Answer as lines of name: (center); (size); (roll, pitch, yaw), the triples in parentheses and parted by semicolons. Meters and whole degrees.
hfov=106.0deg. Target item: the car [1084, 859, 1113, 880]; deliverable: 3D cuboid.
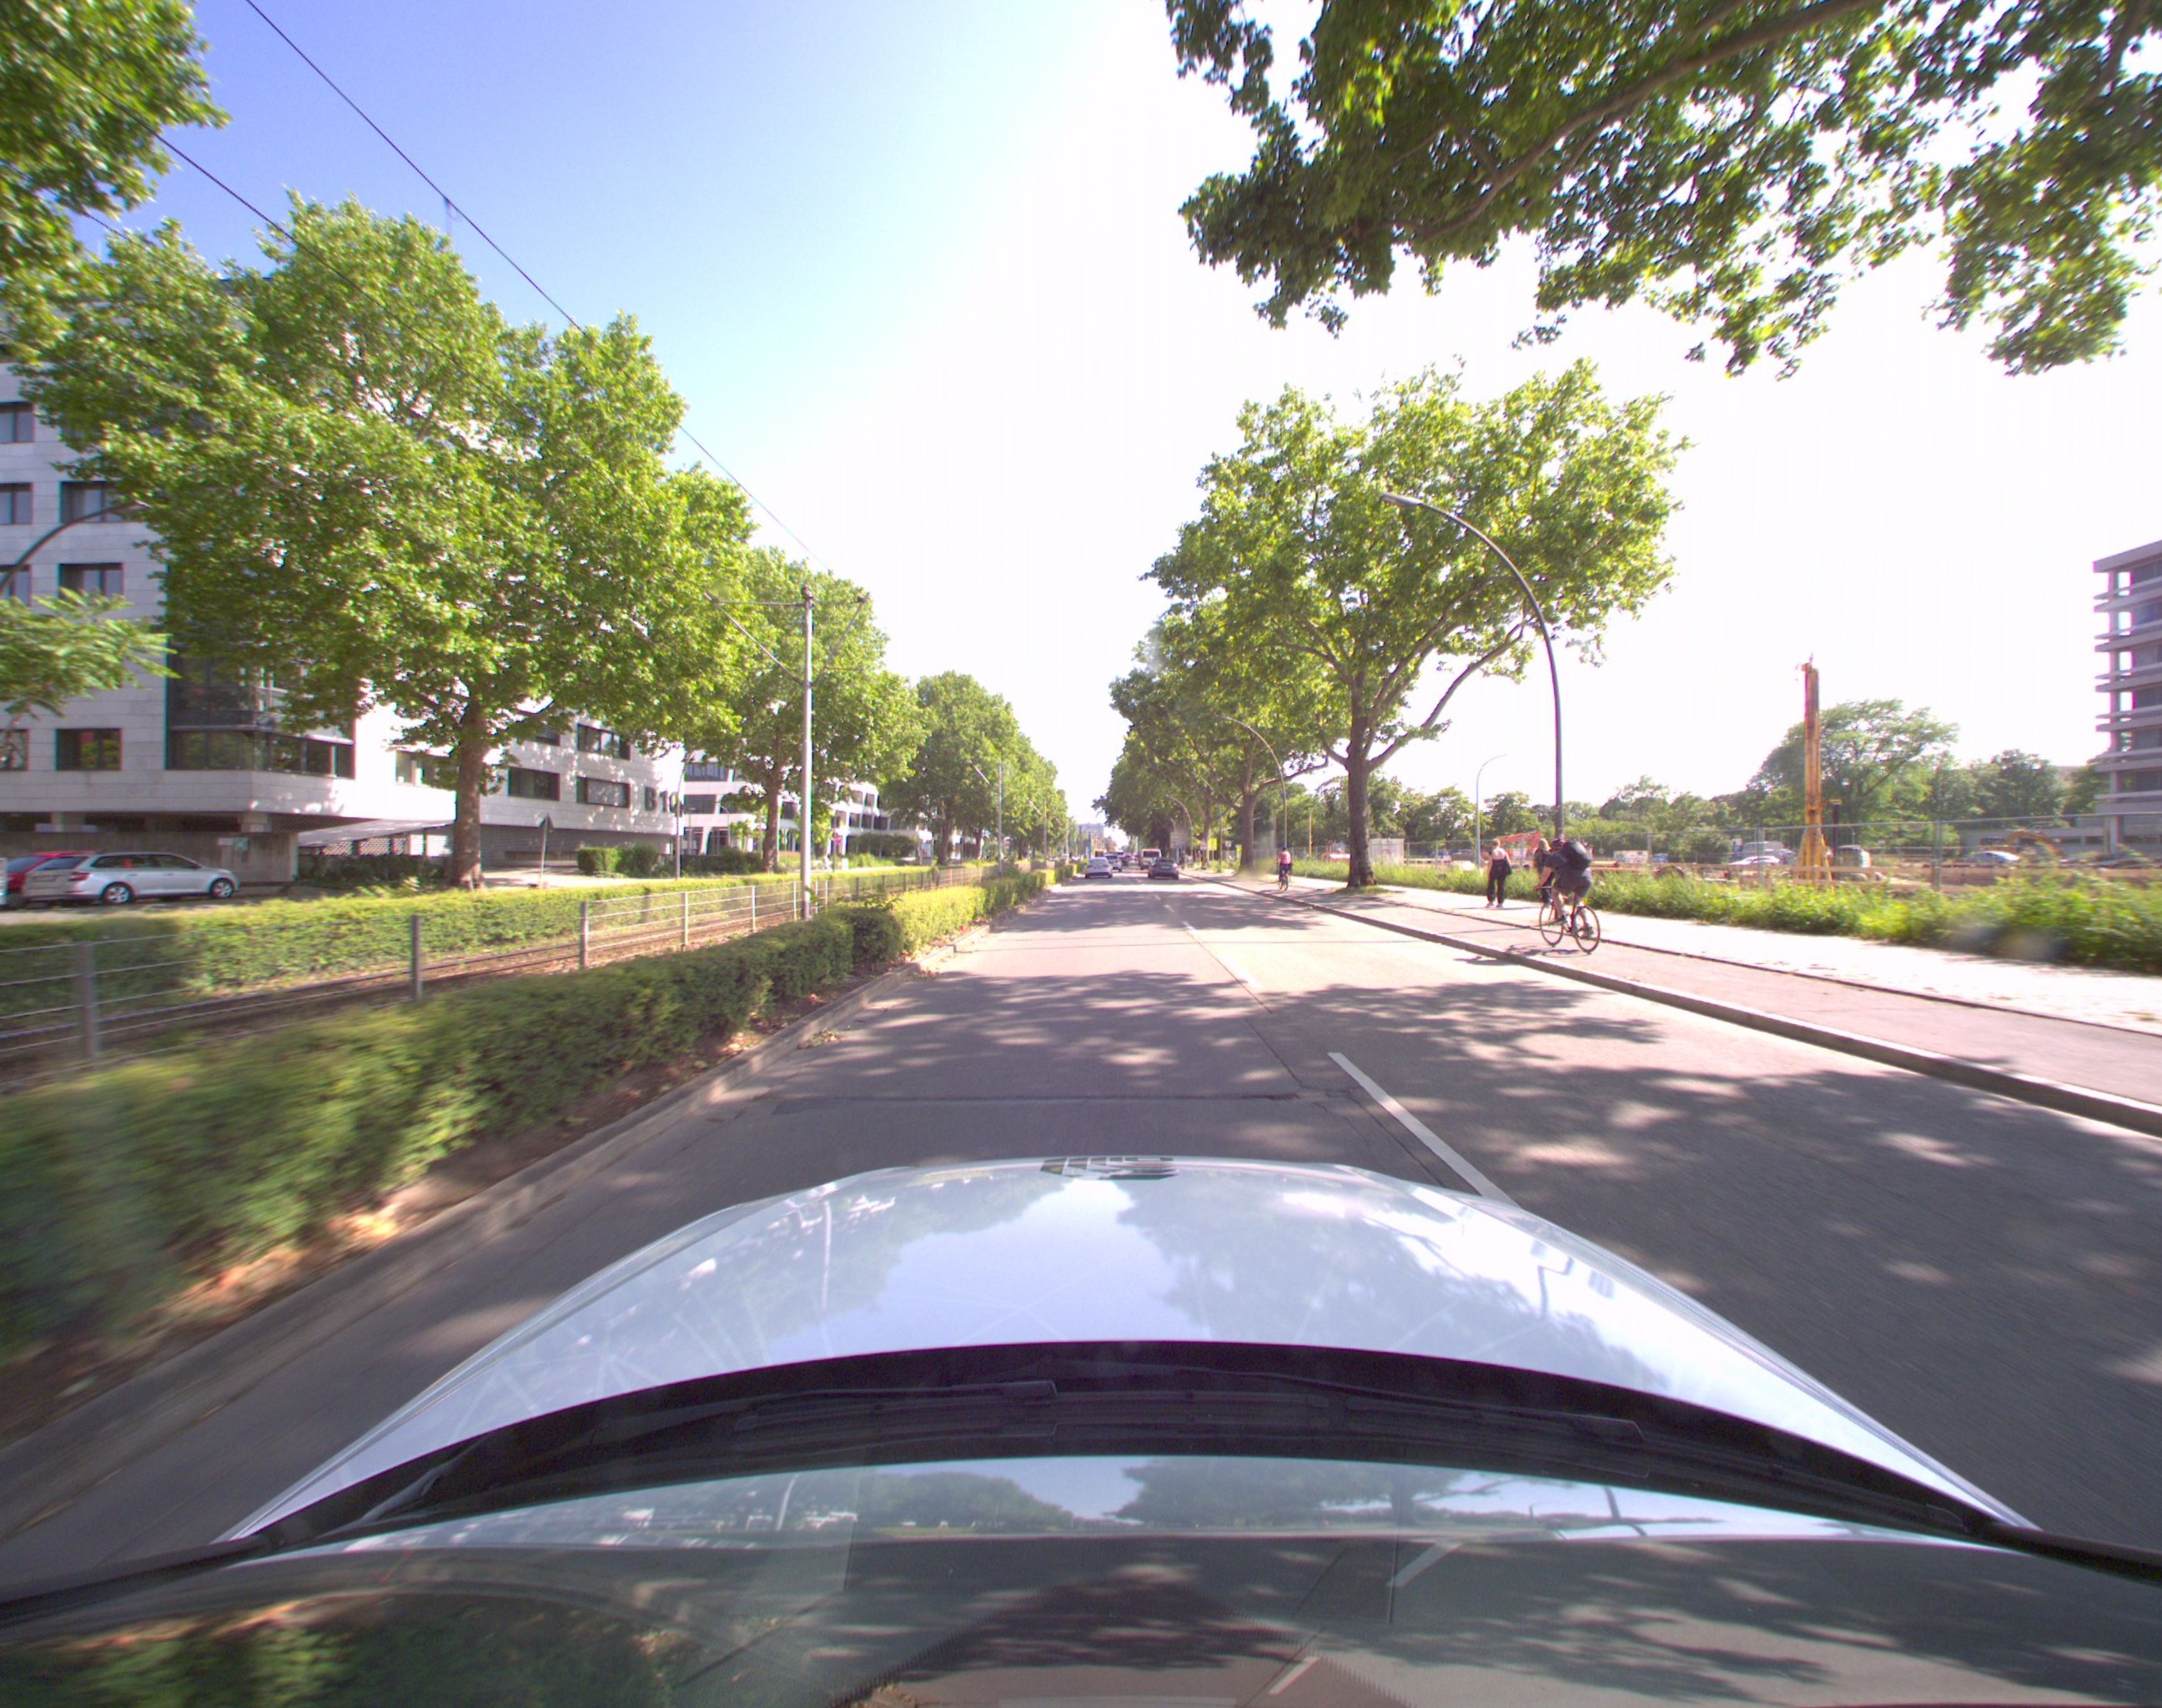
car: (1.203, 1.028, 55.289); (1.777, 1.420, 3.889); (0, 0, 4)

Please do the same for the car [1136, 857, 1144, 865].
car: (16.025, 1.908, 221.884); (2.063, 1.999, 4.062); (0, -1, 4)

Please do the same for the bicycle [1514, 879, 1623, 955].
bicycle: (7.337, 0.915, 12.353); (0.595, 0.980, 1.782); (-3, 0, 2)

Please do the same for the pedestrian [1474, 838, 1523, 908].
pedestrian: (10.465, 0.469, 20.458); (0.707, 1.724, 1.066); (0, 0, 2)

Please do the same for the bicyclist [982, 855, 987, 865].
bicyclist: (-15.158, 0.900, 127.417); (0.651, 1.535, 0.641); (0, -1, 4)

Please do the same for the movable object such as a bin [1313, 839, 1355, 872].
movable object such as a bin: (24.651, 0.111, 79.593); (2.361, 3.072, 5.985); (0, 0, 0)

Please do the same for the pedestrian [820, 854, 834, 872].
pedestrian: (-23.509, 0.828, 75.339); (0.713, 1.588, 1.021); (0, -1, 33)

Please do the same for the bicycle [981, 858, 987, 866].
bicycle: (-15.166, 1.254, 127.362); (0.661, 1.124, 2.033); (0, -1, 4)

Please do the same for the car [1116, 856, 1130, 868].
car: (5.700, 1.130, 110.199); (1.722, 1.605, 3.889); (0, -1, 4)

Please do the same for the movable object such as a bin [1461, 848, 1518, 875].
movable object such as a bin: (47.750, 0.875, 95.410); (5.154, 2.975, 3.297); (0, -1, 3)

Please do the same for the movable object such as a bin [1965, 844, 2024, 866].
movable object such as a bin: (88.747, 0.105, 79.186); (2.740, 2.014, 2.670); (0, -1, 2)

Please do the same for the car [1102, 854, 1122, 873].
car: (2.858, 0.859, 74.217); (1.722, 1.605, 3.889); (0, -1, 4)

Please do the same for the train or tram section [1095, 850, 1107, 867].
train or tram section: (4.919, 1.138, 200.790); (2.605, 4.015, 7.757); (0, -1, 4)

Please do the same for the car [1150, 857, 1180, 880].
car: (5.384, 0.902, 52.686); (1.774, 1.420, 4.004); (0, 0, 4)

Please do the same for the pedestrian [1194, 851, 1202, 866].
pedestrian: (14.841, 0.608, 103.729); (0.935, 1.892, 1.152); (0, -1, 4)

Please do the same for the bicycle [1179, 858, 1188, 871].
bicycle: (9.904, 1.026, 78.790); (0.711, 1.148, 2.180); (-3, 1, 3)

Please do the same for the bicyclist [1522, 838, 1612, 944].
bicyclist: (7.319, 0.537, 12.321); (0.596, 1.489, 1.215); (-3, 0, 2)

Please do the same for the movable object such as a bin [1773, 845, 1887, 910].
movable object such as a bin: (65.307, 1.937, 70.888); (11.842, 5.176, 6.674); (1, -1, -44)

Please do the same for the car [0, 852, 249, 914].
car: (-26.082, 0.733, 22.431); (1.736, 1.550, 4.350); (0, 0, 2)

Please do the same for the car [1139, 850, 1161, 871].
car: (7.370, 0.688, 87.073); (2.220, 2.212, 4.166); (0, -1, 4)

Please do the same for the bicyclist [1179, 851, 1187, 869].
bicyclist: (9.868, 0.577, 78.802); (0.632, 1.648, 0.980); (-3, 1, 3)

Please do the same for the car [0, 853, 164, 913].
car: (-28.597, 0.753, 22.571); (1.736, 1.550, 4.002); (0, 0, 2)

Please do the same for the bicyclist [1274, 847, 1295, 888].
bicyclist: (8.149, 0.520, 32.599); (0.617, 1.600, 0.732); (-2, -1, 1)

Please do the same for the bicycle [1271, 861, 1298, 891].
bicycle: (8.143, 0.872, 32.626); (0.649, 1.129, 1.947); (-2, -1, 3)

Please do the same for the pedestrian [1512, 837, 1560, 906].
pedestrian: (11.335, 0.436, 20.305); (0.693, 1.683, 0.959); (0, 0, 2)
